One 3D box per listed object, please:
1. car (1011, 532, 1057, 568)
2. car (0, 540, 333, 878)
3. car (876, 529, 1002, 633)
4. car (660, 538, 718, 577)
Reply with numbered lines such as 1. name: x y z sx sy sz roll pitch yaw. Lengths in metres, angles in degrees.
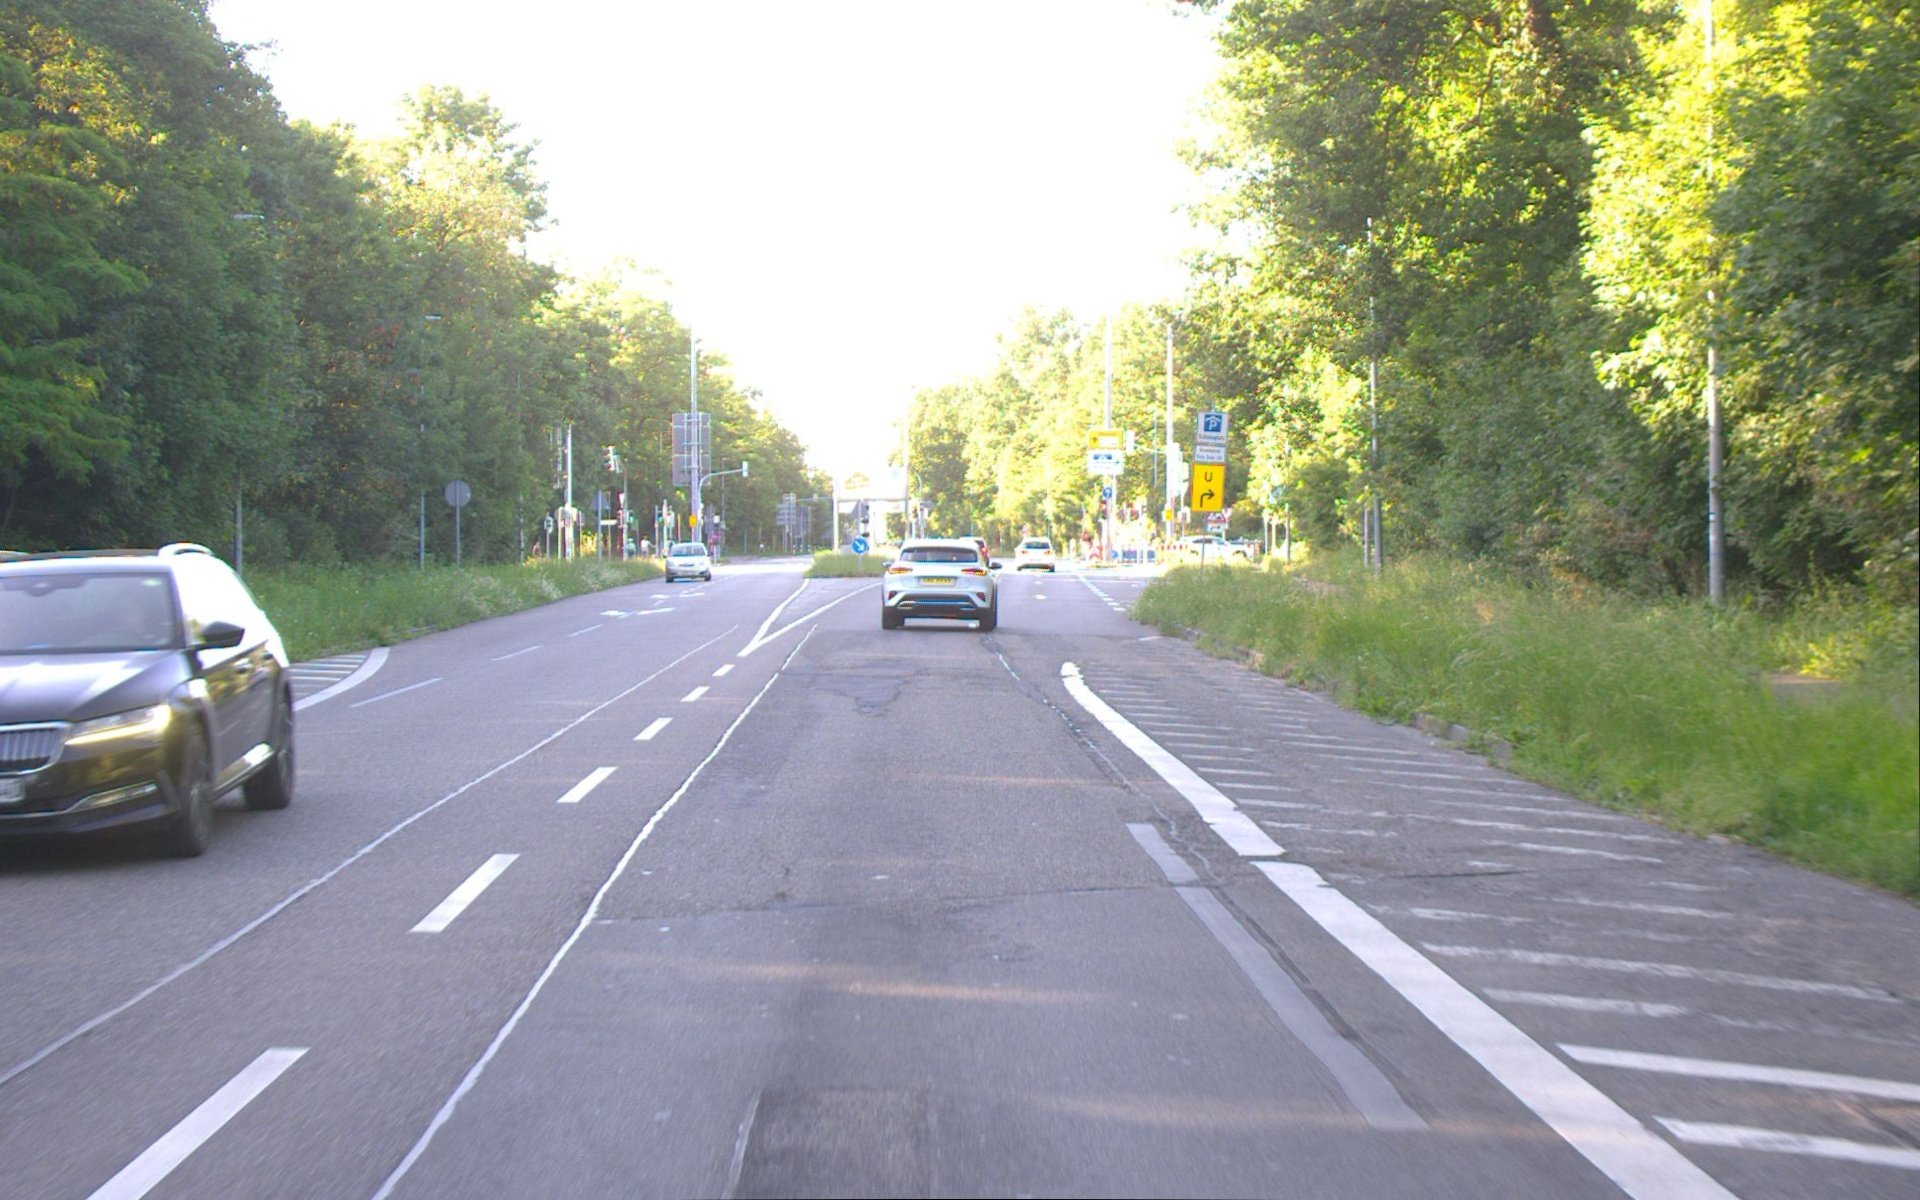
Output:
1. car: 3.407 -2.327 158.580 1.993 1.612 4.000 1 1 0
2. car: -4.464 0.452 17.650 1.678 1.485 4.690 -1 1 -1
3. car: -0.378 -0.343 56.957 1.993 1.634 4.000 0 1 -1
4. car: -10.457 -1.641 132.731 1.993 1.459 4.000 1 1 -1
